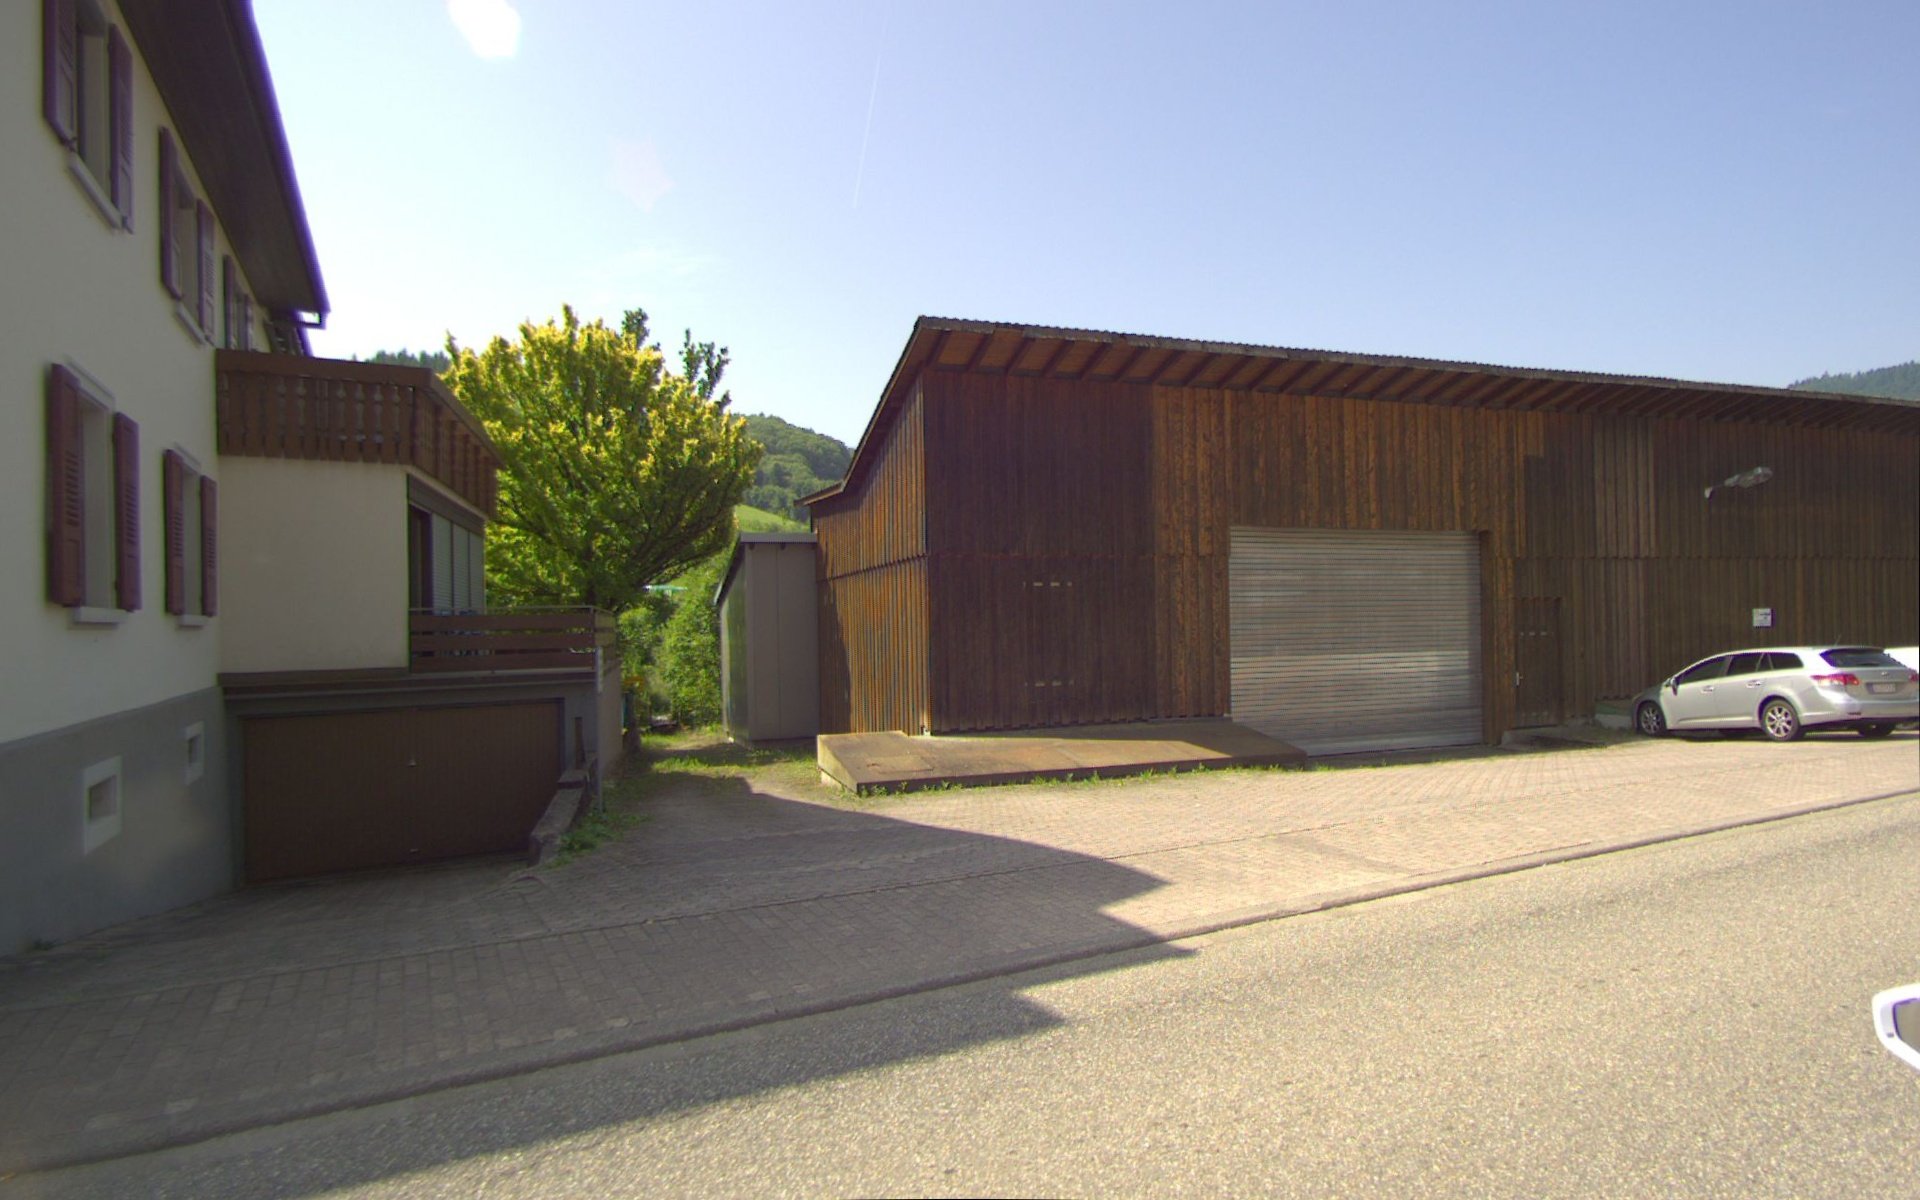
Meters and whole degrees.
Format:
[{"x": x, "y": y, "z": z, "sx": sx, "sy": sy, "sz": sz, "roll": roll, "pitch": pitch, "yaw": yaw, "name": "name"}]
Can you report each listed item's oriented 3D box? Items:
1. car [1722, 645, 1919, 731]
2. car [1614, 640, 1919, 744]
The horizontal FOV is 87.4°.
[{"x": 16.290, "y": 1.609, "z": 18.192, "sx": 1.682, "sy": 1.403, "sz": 3.663, "roll": 0, "pitch": -6, "yaw": -14, "name": "car"}, {"x": 13.717, "y": 1.567, "z": 17.163, "sx": 1.888, "sy": 1.493, "sz": 4.445, "roll": -1, "pitch": -5, "yaw": -4, "name": "car"}]
